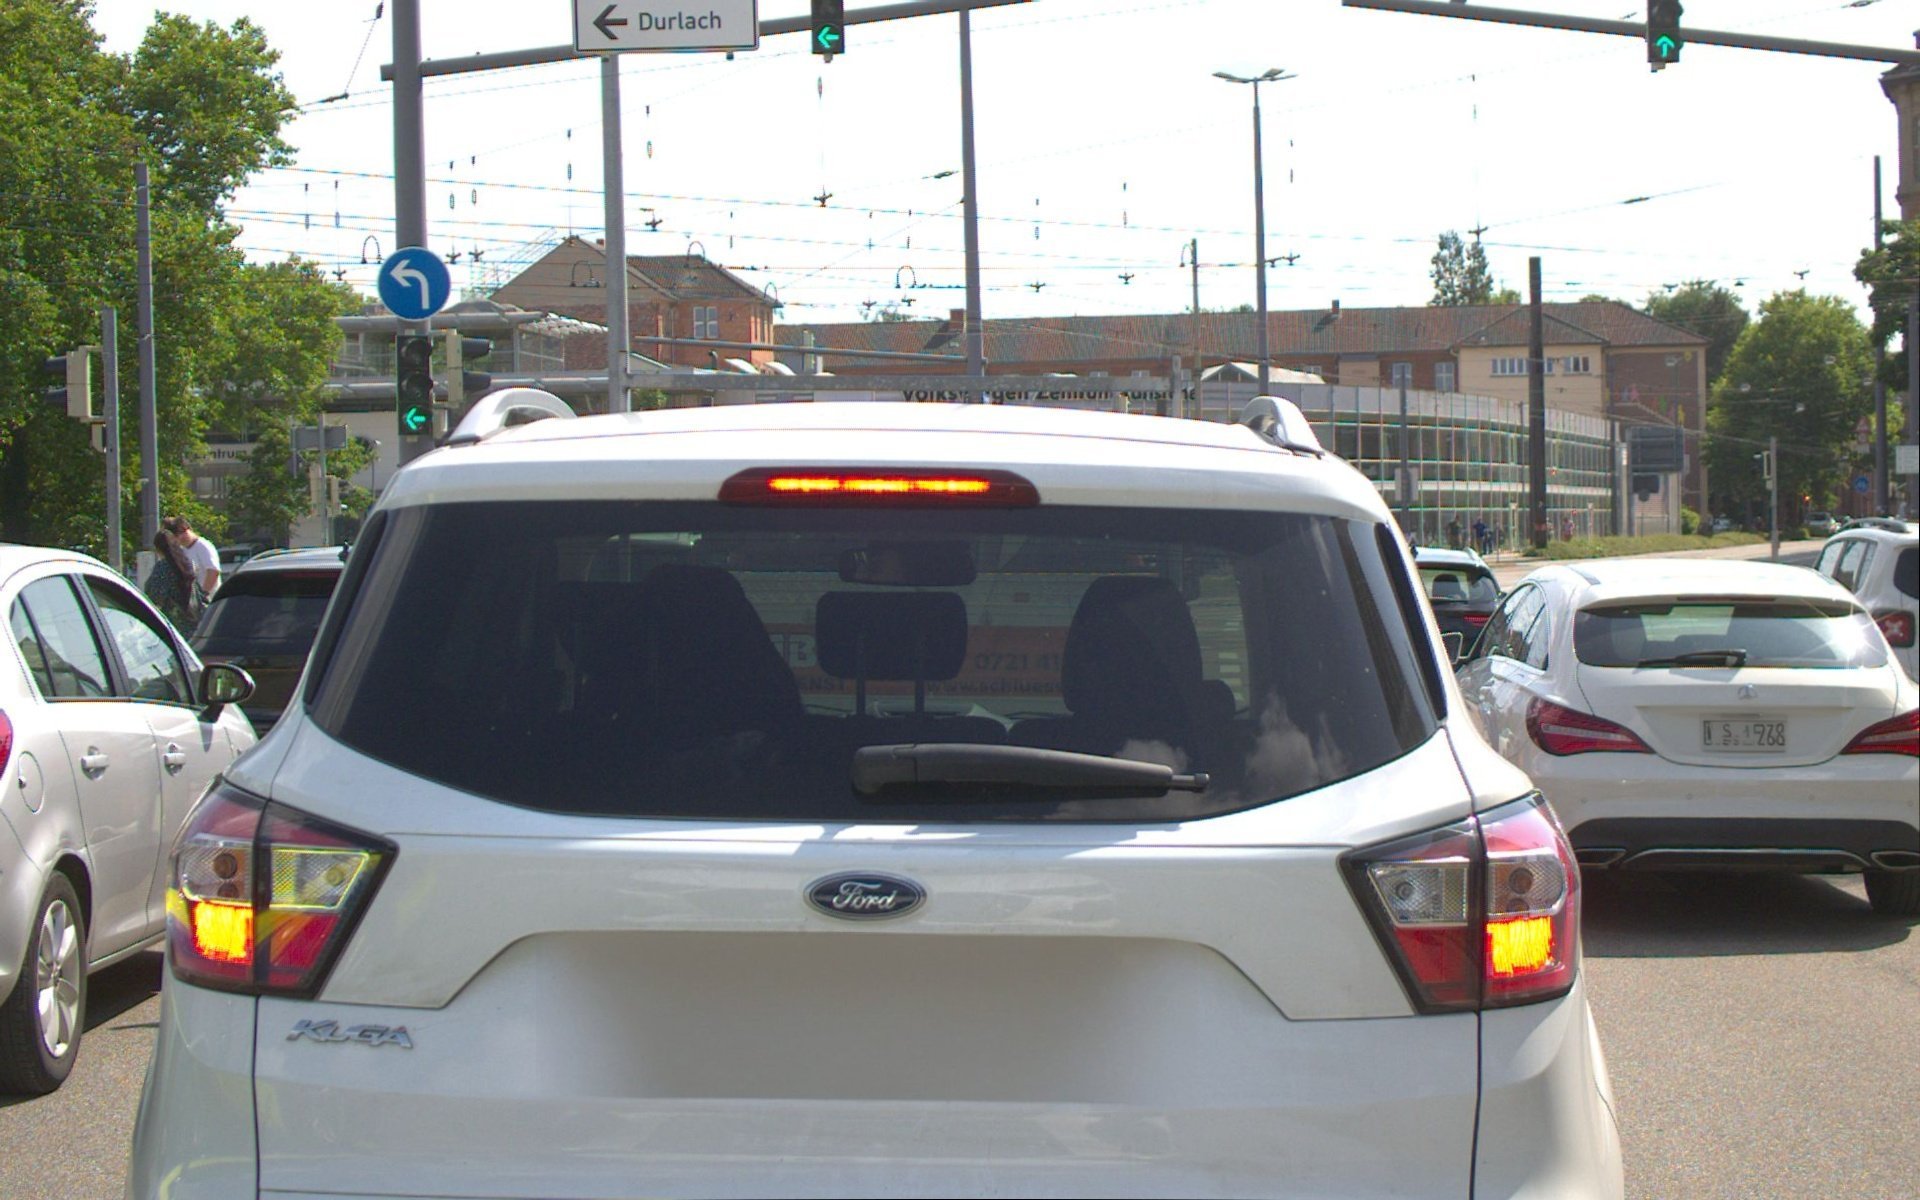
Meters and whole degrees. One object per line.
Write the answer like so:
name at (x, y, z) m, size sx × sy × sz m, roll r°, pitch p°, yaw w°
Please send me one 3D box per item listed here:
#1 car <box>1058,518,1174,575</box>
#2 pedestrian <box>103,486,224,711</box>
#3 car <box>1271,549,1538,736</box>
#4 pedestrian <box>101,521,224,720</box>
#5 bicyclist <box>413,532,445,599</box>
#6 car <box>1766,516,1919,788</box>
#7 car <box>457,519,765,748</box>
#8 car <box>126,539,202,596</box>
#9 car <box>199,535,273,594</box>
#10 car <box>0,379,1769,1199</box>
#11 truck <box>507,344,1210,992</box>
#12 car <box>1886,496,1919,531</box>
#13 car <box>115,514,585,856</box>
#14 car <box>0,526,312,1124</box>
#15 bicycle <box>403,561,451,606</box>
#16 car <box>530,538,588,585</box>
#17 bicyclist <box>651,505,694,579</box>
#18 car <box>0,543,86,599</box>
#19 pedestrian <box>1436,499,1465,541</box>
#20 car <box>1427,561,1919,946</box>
car at (4.278, -1.461, 93.682) m, size 1.901 × 1.456 × 3.964 m, roll -2°, pitch 1°, yaw 22°
pedestrian at (-6.909, -0.014, 29.849) m, size 0.847 × 1.910 × 0.692 m, roll -1°, pitch 0°, yaw -1°
car at (3.526, 0.296, 27.830) m, size 1.850 × 1.414 × 3.679 m, roll 0°, pitch 1°, yaw 3°
pedestrian at (-6.723, 0.166, 29.020) m, size 0.847 × 1.642 × 0.692 m, roll -1°, pitch 0°, yaw -1°
bicyclist at (-13.755, -0.901, 89.045) m, size 0.637 × 1.732 × 0.662 m, roll -1°, pitch 2°, yaw -29°
car at (6.531, 0.297, 22.723) m, size 1.837 × 1.646 × 3.999 m, roll 0°, pitch 0°, yaw 6°
car at (-2.528, 0.193, 25.921) m, size 2.039 × 1.573 × 4.540 m, roll 0°, pitch 1°, yaw -2°
car at (-28.670, -1.138, 123.896) m, size 1.967 × 1.930 × 4.231 m, roll -3°, pitch 0°, yaw -5°
car at (-26.010, -1.266, 123.639) m, size 1.993 × 2.007 × 4.231 m, roll -3°, pitch 0°, yaw -5°
car at (-0.022, 0.584, 5.387) m, size 1.827 × 1.658 × 3.955 m, roll 0°, pitch 1°, yaw 3°
truck at (-0.232, 0.174, 14.410) m, size 2.339 × 2.148 × 5.851 m, roll 0°, pitch 1°, yaw 2°
car at (46.661, -4.257, 169.062) m, size 1.838 × 1.646 × 3.996 m, roll 0°, pitch 0°, yaw 20°
car at (-3.081, 0.352, 18.245) m, size 1.762 × 1.563 × 4.527 m, roll -1°, pitch 1°, yaw -1°
car at (-3.262, 0.535, 10.447) m, size 1.848 × 1.469 × 4.000 m, roll -1°, pitch 1°, yaw -1°
bicycle at (-13.846, -0.442, 89.208) m, size 0.637 × 1.121 × 1.784 m, roll -1°, pitch 2°, yaw -29°
car at (-14.219, -1.347, 121.989) m, size 1.818 × 1.528 × 3.917 m, roll -3°, pitch 0°, yaw -5°
bicyclist at (-6.705, -1.353, 80.178) m, size 0.760 × 1.677 × 0.760 m, roll -2°, pitch 1°, yaw 14°
car at (-33.343, -1.033, 124.749) m, size 1.967 × 1.930 × 5.069 m, roll -2°, pitch 0°, yaw -1°
pedestrian at (20.756, -3.382, 145.428) m, size 0.877 × 1.731 × 0.874 m, roll 1°, pitch 0°, yaw 35°
car at (3.065, 0.549, 14.608) m, size 1.850 × 1.414 × 3.679 m, roll 0°, pitch 1°, yaw 3°
